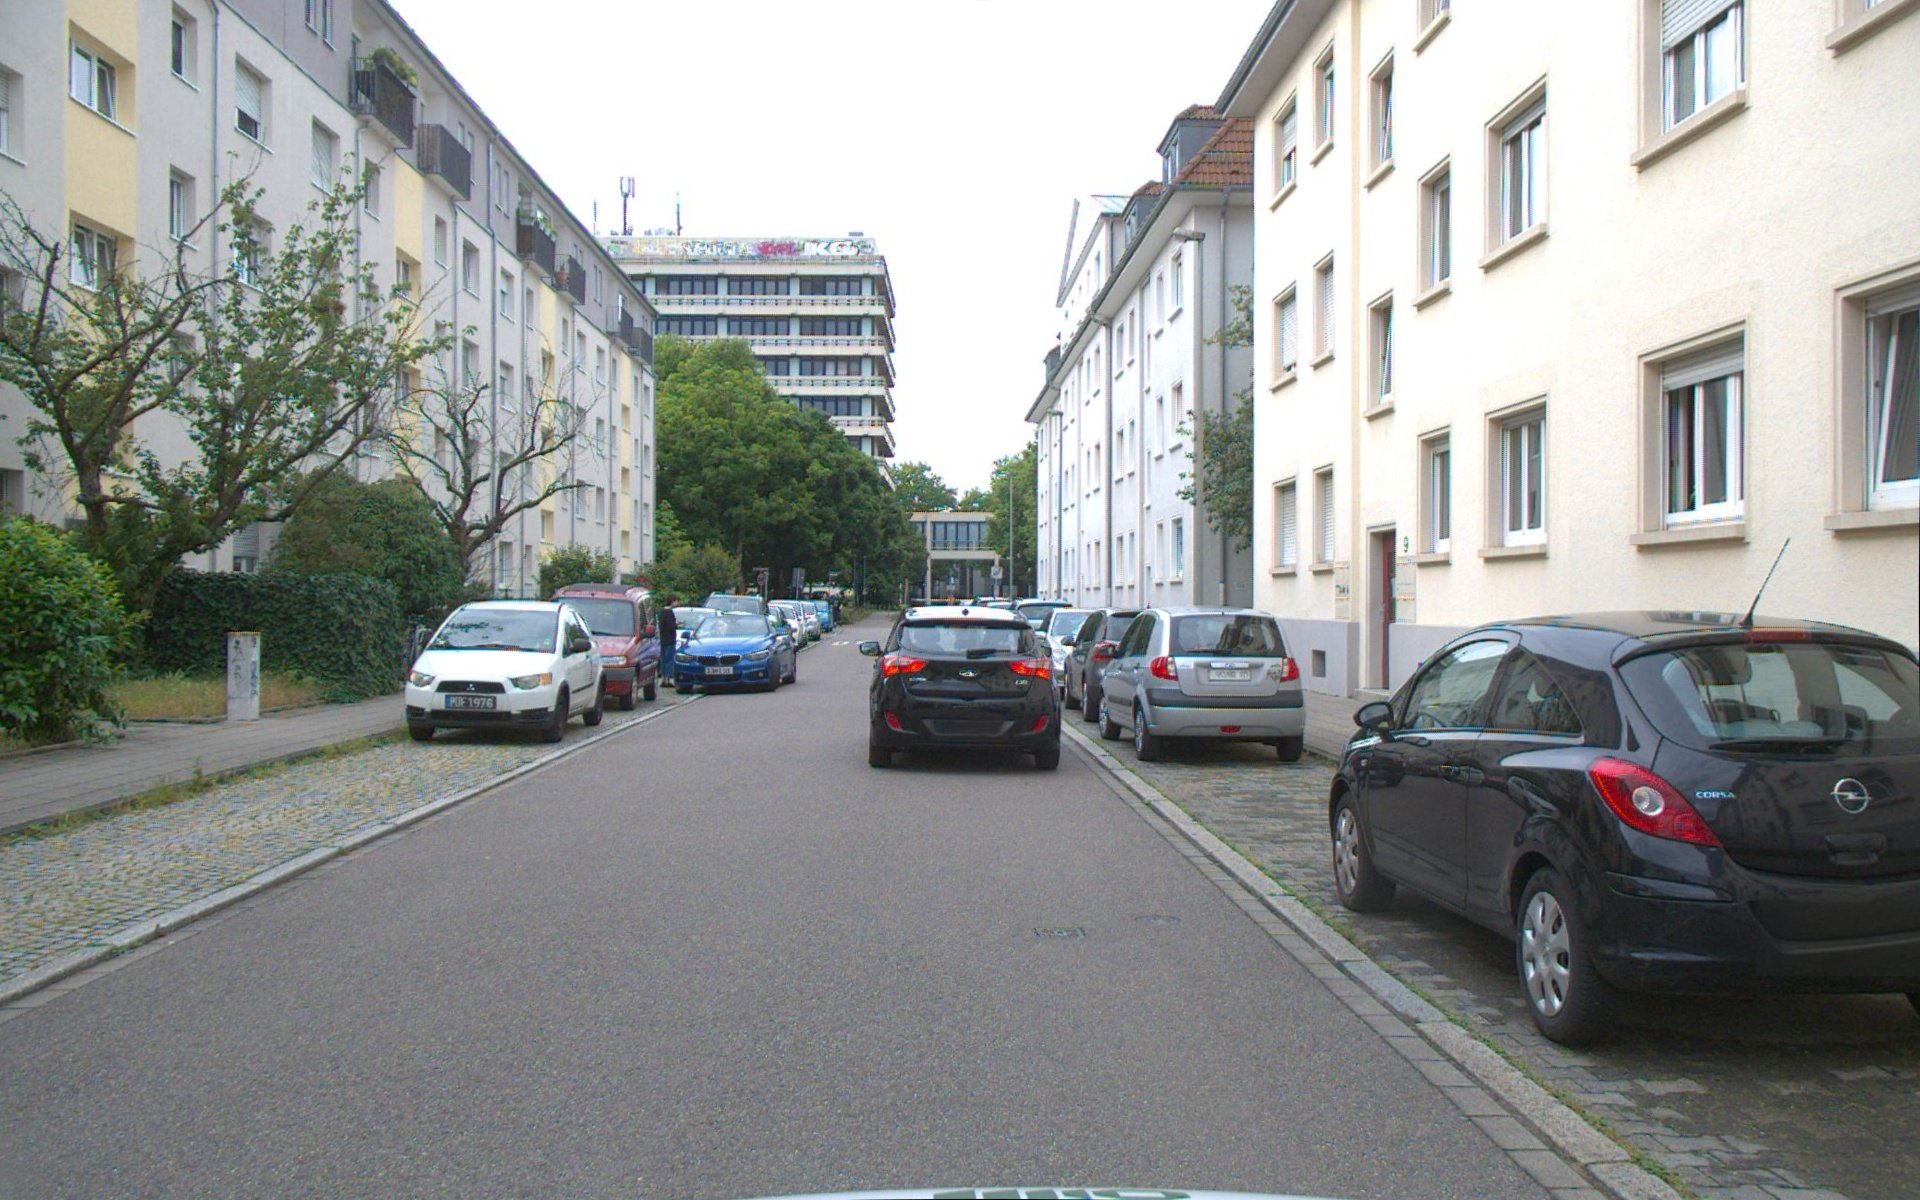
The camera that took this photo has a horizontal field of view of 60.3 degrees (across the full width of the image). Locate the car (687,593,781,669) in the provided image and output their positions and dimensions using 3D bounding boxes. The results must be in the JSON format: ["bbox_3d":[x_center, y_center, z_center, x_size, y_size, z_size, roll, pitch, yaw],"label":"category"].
[{"bbox_3d":[-5.725,0.749,42.339,1.857,1.770,4.473,2,0,-2],"label":"car"}]

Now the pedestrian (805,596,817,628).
[{"bbox_3d":[-8.222,0.643,91.481,0.588,1.743,0.648,0,0,0],"label":"pedestrian"}]

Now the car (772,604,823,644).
[{"bbox_3d":[-6.659,0.955,68.263,1.954,1.568,3.997,1,0,-4],"label":"car"}]

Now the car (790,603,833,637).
[{"bbox_3d":[-7.213,0.942,80.566,1.954,1.568,3.997,1,0,-4],"label":"car"}]

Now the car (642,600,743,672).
[{"bbox_3d":[-5.889,0.759,36.786,1.709,1.490,3.784,-1,0,-2],"label":"car"}]

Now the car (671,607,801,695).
[{"bbox_3d":[-4.028,0.875,30.408,1.807,1.476,4.500,0,0,-1],"label":"car"}]

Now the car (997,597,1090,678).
[{"bbox_3d":[1.789,0.778,36.605,1.783,1.671,4.090,0,0,-1],"label":"car"}]

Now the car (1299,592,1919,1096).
[{"bbox_3d":[2.830,0.761,7.160,1.690,1.544,4.058,1,0,-3],"label":"car"}]

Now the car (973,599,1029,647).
[{"bbox_3d":[1.400,0.778,57.901,1.783,1.631,4.090,0,0,-1],"label":"car"}]

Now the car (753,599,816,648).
[{"bbox_3d":[-6.320,0.833,59.964,1.857,1.627,4.519,2,0,-2],"label":"car"}]

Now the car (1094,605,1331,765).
[{"bbox_3d":[2.531,0.801,17.450,1.811,1.475,3.831,1,0,-2],"label":"car"}]

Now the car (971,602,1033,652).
[{"bbox_3d":[1.309,0.835,52.997,1.783,1.529,4.090,1,0,-1],"label":"car"}]

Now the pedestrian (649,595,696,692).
[{"bbox_3d":[-5.299,0.791,30.447,0.729,1.731,0.792,-1,0,-19],"label":"pedestrian"}]

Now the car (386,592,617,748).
[{"bbox_3d":[-5.214,0.741,19.309,1.686,1.597,3.869,2,0,-2],"label":"car"}]

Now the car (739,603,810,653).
[{"bbox_3d":[-5.994,0.882,53.850,1.857,1.478,4.519,2,0,-2],"label":"car"}]

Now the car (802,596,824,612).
[{"bbox_3d":[-12.331,0.311,138.630,1.632,1.356,3.394,0,0,-2],"label":"car"}]

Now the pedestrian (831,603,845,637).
[{"bbox_3d":[-6.752,1.125,91.366,0.699,1.863,0.797,0,0,0],"label":"pedestrian"}]

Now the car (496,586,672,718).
[{"bbox_3d":[-5.592,0.724,25.134,1.918,1.801,4.358,1,0,-4],"label":"car"}]

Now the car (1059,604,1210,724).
[{"bbox_3d":[2.321,0.813,22.830,1.570,1.502,3.868,1,0,-2],"label":"car"}]

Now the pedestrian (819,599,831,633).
[{"bbox_3d":[-7.470,0.858,91.531,0.592,1.863,0.675,0,0,0],"label":"pedestrian"}]

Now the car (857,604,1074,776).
[{"bbox_3d":[0.014,0.781,16.401,1.864,1.458,4.232,-1,0,-1],"label":"car"}]

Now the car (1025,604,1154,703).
[{"bbox_3d":[2.073,0.822,27.623,1.690,1.502,4.503,0,0,-1],"label":"car"}]
